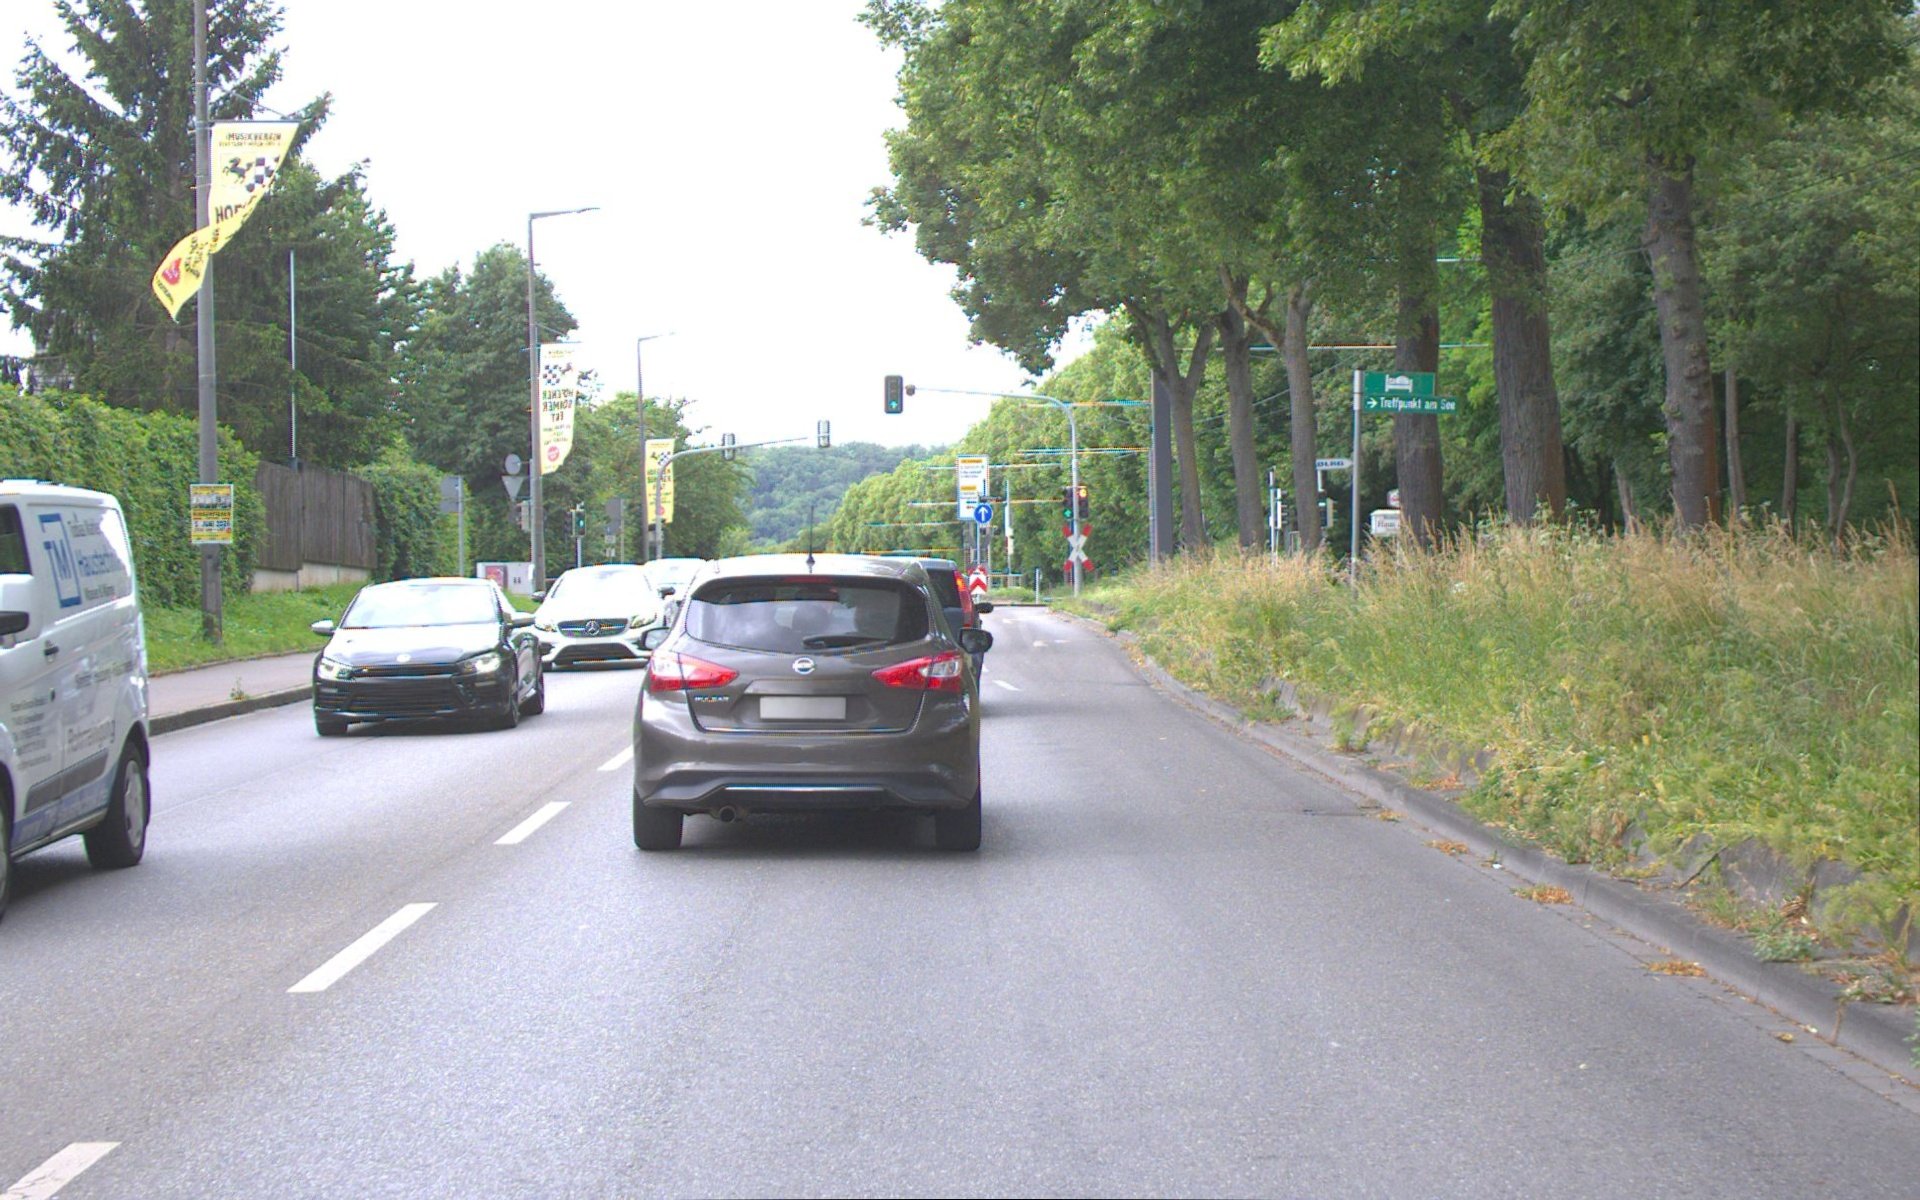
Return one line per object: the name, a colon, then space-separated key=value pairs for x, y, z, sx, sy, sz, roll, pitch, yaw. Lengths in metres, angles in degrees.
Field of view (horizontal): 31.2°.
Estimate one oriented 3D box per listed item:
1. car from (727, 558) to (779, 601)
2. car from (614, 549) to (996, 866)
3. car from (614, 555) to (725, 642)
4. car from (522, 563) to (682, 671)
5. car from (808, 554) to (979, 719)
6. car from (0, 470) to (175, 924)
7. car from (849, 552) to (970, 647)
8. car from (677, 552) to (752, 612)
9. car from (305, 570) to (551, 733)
car: x=-7.743 y=-0.783 z=128.576 sx=1.812 sy=1.519 sz=4.178 roll=-2 pitch=1 yaw=-2
car: x=-0.780 y=0.490 z=18.970 sx=1.835 sy=1.514 sz=4.483 roll=1 pitch=1 yaw=-1
car: x=-5.479 y=-0.060 z=65.250 sx=1.751 sy=1.513 sz=4.000 roll=-3 pitch=1 yaw=-1
car: x=-5.044 y=0.207 z=48.911 sx=1.886 sy=1.378 sz=4.491 roll=-2 pitch=1 yaw=-2
car: x=-0.629 y=0.308 z=33.172 sx=1.538 sy=1.473 sz=3.764 roll=-1 pitch=1 yaw=-1
car: x=-5.091 y=0.414 z=15.901 sx=1.906 sy=1.925 sz=4.911 roll=-2 pitch=1 yaw=-2
car: x=-0.781 y=-0.043 z=53.515 sx=1.792 sy=1.392 sz=4.000 roll=-1 pitch=1 yaw=-1
car: x=-6.419 y=-0.490 z=90.181 sx=1.728 sy=1.459 sz=4.154 roll=-2 pitch=1 yaw=-1
car: x=-4.894 y=0.427 z=32.146 sx=1.650 sy=1.343 sz=4.478 roll=-2 pitch=1 yaw=-1
